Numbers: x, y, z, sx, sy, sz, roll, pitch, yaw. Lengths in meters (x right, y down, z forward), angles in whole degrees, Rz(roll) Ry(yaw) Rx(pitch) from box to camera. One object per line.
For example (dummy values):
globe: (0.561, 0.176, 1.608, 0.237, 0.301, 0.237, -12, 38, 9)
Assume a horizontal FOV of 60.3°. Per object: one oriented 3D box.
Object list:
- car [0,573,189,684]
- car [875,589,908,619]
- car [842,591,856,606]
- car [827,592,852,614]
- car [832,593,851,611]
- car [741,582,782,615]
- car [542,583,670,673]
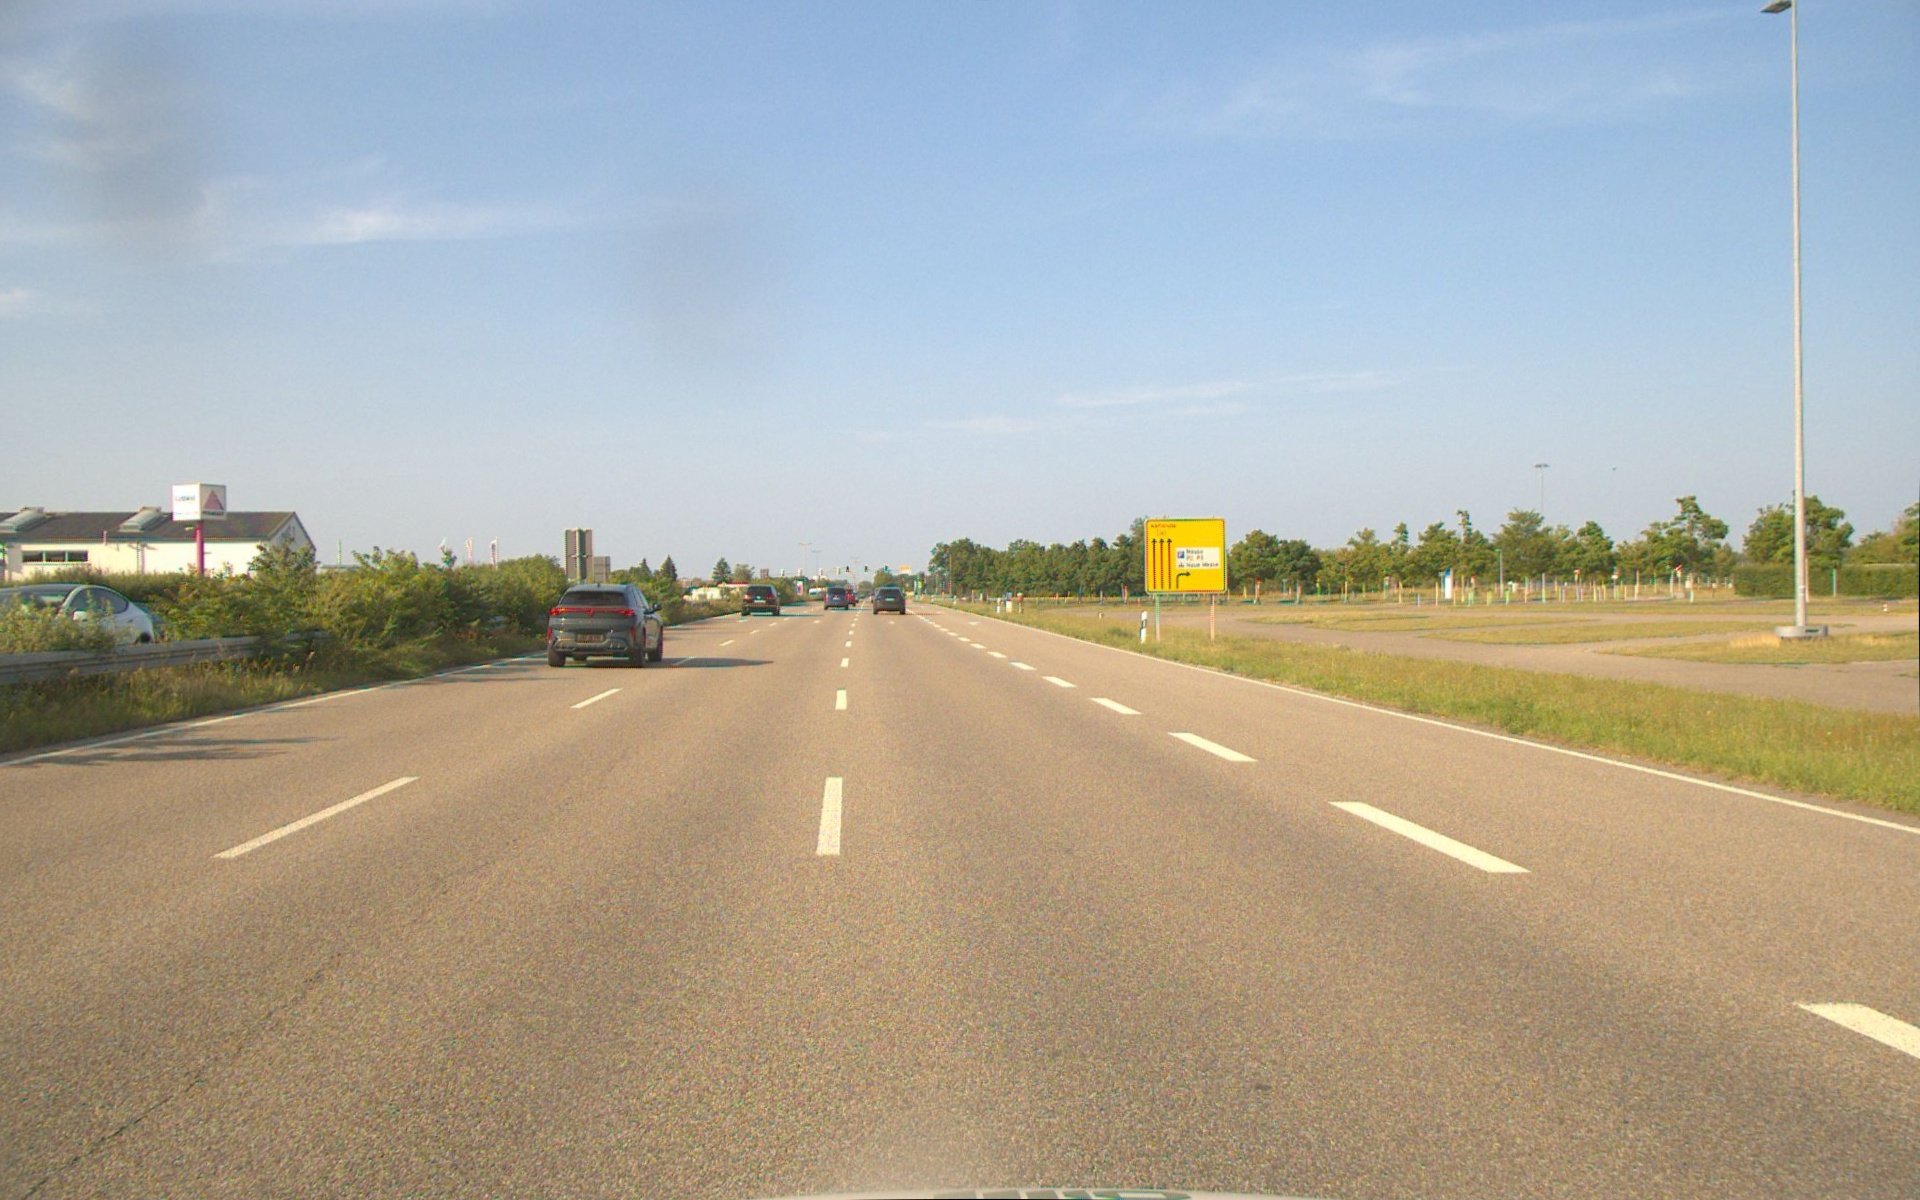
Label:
car: (-14.206, 0.447, 26.635, 1.890, 1.641, 3.997, 1, -1, -4)
car: (-4.202, 0.224, 100.794, 1.894, 1.709, 4.398, 2, 0, -3)
car: (-13.233, -0.206, 196.746, 1.613, 1.758, 3.398, 1, -1, -4)
car: (-8.846, 0.207, 121.564, 1.777, 1.489, 4.398, 2, 0, -3)
car: (-10.501, 0.156, 146.352, 1.615, 1.489, 3.978, 2, 0, -3)
car: (-10.835, -0.082, 90.500, 1.894, 1.709, 4.398, 2, 0, -3)
car: (-7.043, 0.519, 33.303, 1.809, 1.640, 4.398, 2, 0, -3)
